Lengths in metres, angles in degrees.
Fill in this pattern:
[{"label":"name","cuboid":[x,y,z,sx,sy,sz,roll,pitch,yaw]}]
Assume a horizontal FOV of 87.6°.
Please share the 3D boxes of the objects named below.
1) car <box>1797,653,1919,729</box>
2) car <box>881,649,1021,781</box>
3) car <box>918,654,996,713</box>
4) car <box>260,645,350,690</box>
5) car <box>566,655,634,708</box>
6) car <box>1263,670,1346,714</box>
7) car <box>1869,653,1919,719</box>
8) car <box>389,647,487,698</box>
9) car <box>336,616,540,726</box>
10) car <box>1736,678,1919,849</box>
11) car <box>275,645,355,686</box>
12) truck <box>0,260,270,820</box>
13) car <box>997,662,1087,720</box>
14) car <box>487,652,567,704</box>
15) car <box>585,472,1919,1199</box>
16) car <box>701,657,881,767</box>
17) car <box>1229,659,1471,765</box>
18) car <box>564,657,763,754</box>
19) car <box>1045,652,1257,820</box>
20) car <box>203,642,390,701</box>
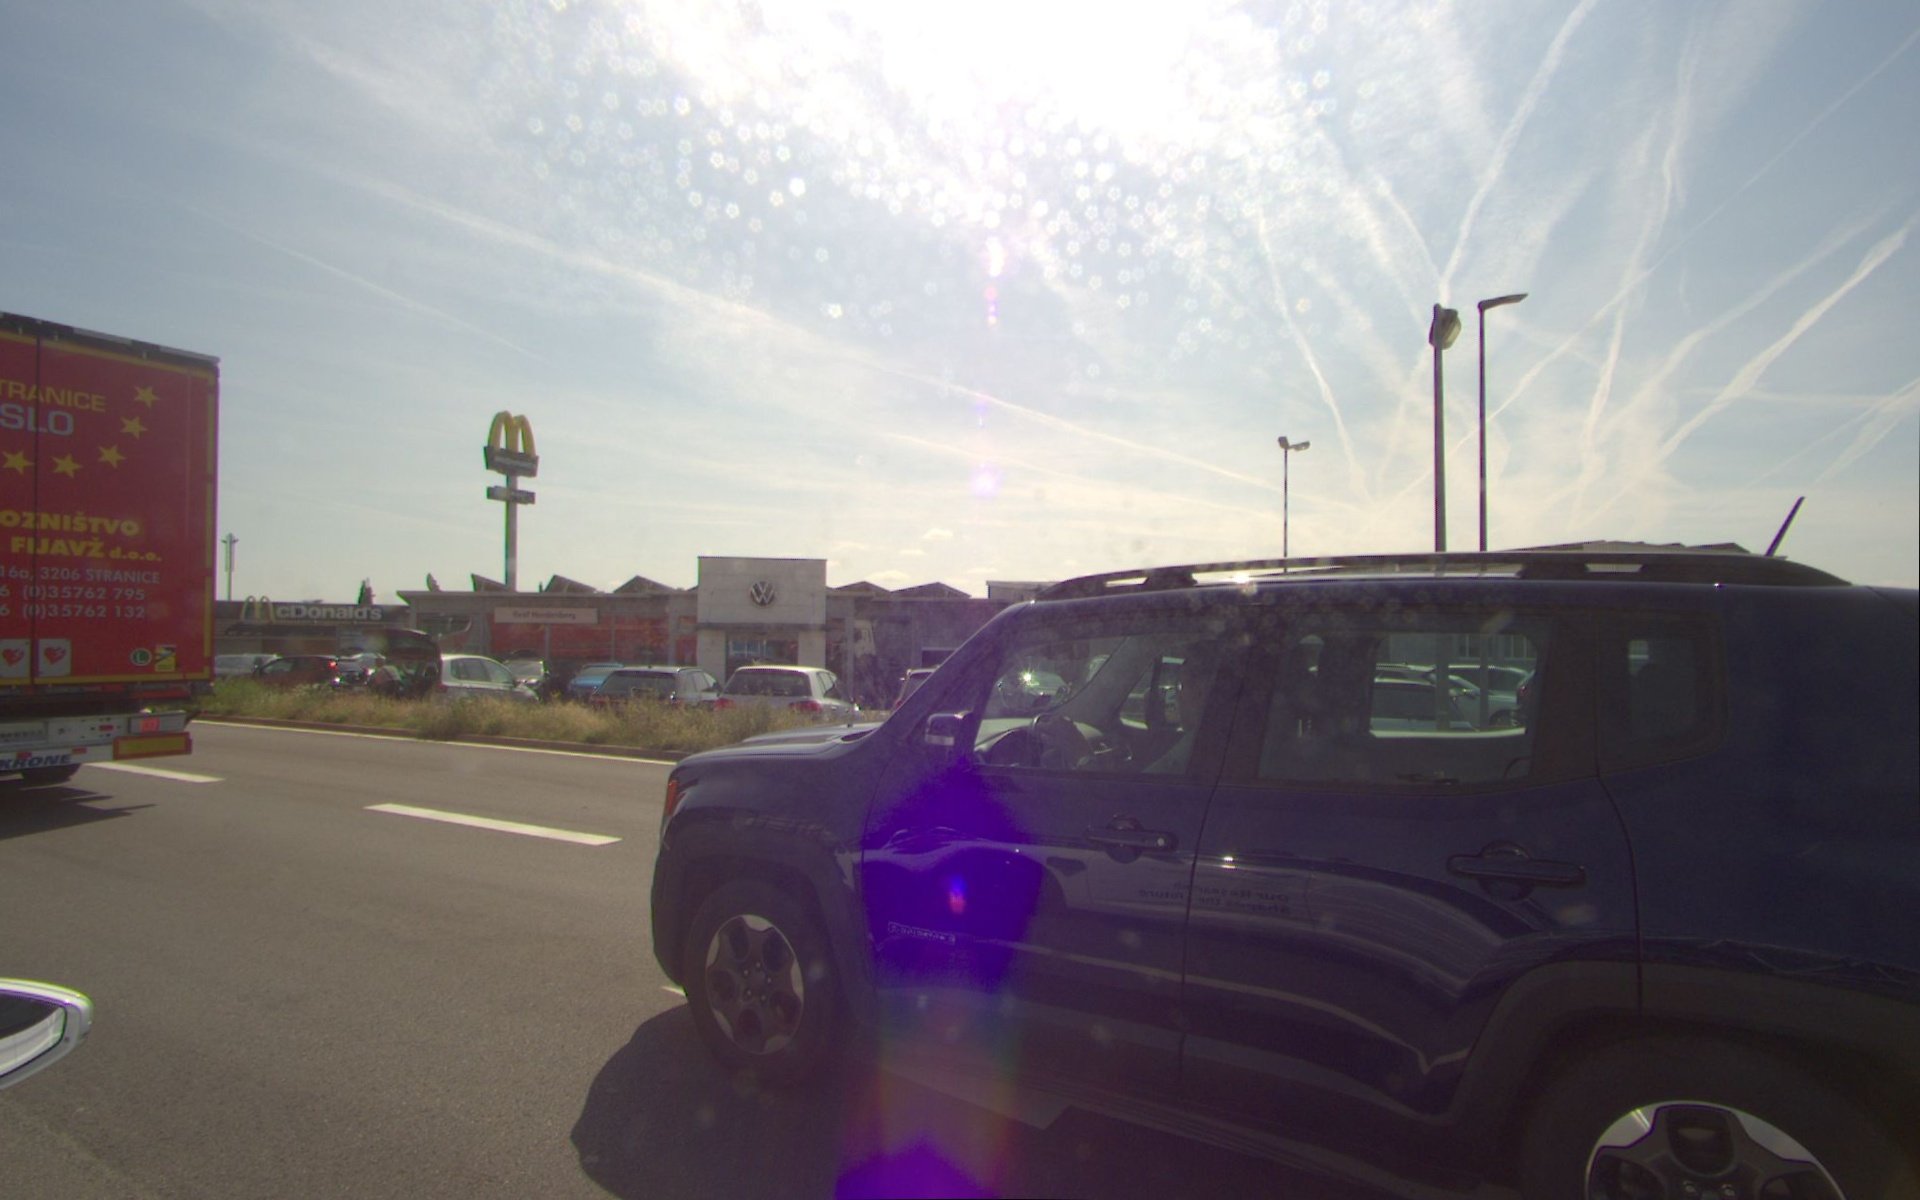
[{"label":"car","cuboid":[23.521,2.223,24.582,1.882,1.777,4.209,2,-3,-32]},{"label":"car","cuboid":[-0.110,1.500,14.223,1.705,1.555,4.040,1,-2,0]},{"label":"car","cuboid":[-0.171,2.626,30.784,1.706,1.552,3.768,1,-8,-11]},{"label":"car","cuboid":[-23.874,2.438,36.611,1.656,1.550,3.593,1,-2,-15]},{"label":"car","cuboid":[-11.908,2.653,33.320,1.671,1.577,3.783,1,-2,-13]},{"label":"car","cuboid":[12.221,3.233,35.732,1.642,1.382,3.768,1,-2,0]},{"label":"car","cuboid":[27.465,2.360,26.886,1.882,1.777,4.209,2,-3,-32]},{"label":"car","cuboid":[-16.966,2.326,32.759,1.964,1.550,3.996,1,-2,-15]},{"label":"car","cuboid":[-10.131,1.335,19.786,1.669,1.945,3.848,0,-2,7]},{"label":"car","cuboid":[9.321,1.487,8.753,1.705,1.420,4.350,1,-2,0]},{"label":"car","cuboid":[-26.004,2.630,40.494,1.656,1.550,3.593,1,-2,-15]},{"label":"truck","cuboid":[-14.183,-0.347,12.324,16.342,4.324,2.953,-1,-2,32]},{"label":"car","cuboid":[2.440,2.732,30.798,1.706,1.555,4.036,1,-2,-11]},{"label":"car","cuboid":[-14.254,2.536,33.178,1.771,1.550,4.223,1,-2,-15]},{"label":"car","cuboid":[0.784,0.672,3.337,3.943,1.707,1.816,-1,-1,32]},{"label":"car","cuboid":[-2.483,1.647,15.678,1.670,1.417,3.847,0,-2,8]},{"label":"car","cuboid":[7.663,2.109,19.765,4.173,1.777,1.899,-1,-3,33]},{"label":"car","cuboid":[-5.021,1.740,17.521,1.670,1.417,3.845,0,-2,13]},{"label":"car","cuboid":[2.020,1.419,11.722,1.705,1.555,4.040,1,-2,0]},{"label":"car","cuboid":[-18.550,1.976,28.112,3.922,1.550,2.001,1,-2,3]}]
